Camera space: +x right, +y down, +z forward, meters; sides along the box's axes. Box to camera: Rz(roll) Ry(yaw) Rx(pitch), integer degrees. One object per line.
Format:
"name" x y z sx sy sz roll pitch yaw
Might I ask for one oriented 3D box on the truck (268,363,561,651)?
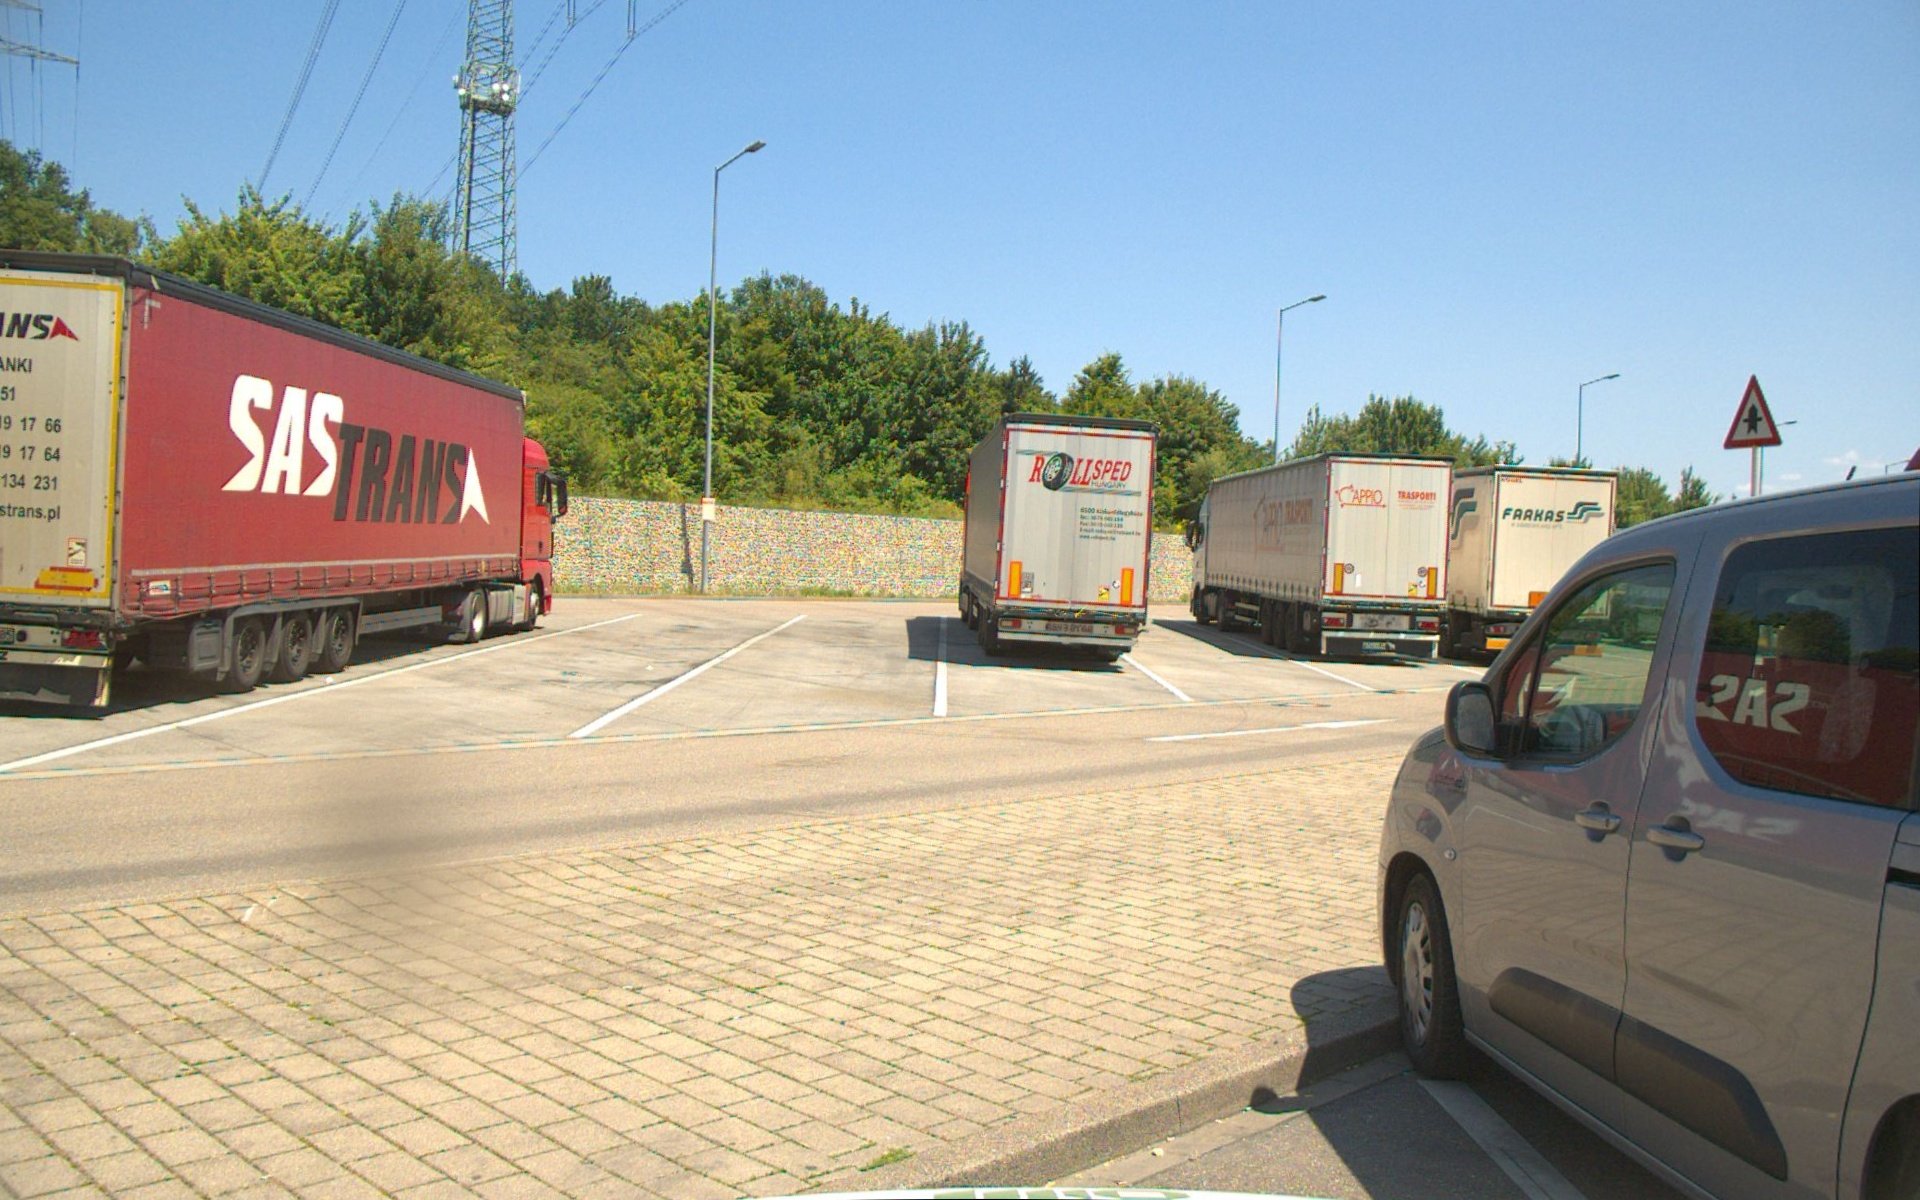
"truck" -8.787 -1.426 27.543 2.687 4.152 6.828 1 1 -1

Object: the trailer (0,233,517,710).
"trailer" -8.691 -1.263 21.021 2.694 4.128 13.285 1 1 -1

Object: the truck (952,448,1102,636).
"truck" 1.453 -1.389 39.450 2.965 3.997 6.845 2 2 -2

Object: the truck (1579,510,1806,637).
"truck" 21.944 -0.825 50.193 2.963 3.497 8.529 1 1 -1

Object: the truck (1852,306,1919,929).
"truck" 4.970 0.125 4.943 1.952 2.669 5.305 1 1 3

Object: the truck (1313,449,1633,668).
"truck" 11.704 -0.969 40.001 2.846 4.195 14.525 3 1 -1

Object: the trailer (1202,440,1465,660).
"trailer" 8.193 -1.098 38.616 2.818 4.196 13.569 1 1 -1

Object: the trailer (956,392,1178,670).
"trailer" 1.687 -1.323 32.684 3.008 4.301 12.805 2 2 -2

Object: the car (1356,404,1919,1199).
"car" 2.424 0.553 3.822 1.790 1.784 3.997 1 1 -4

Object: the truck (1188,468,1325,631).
"truck" 8.058 -1.371 45.616 2.701 4.196 5.283 1 1 -1

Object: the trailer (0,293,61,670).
"trailer" -12.420 -1.312 15.452 2.689 4.337 9.733 1 1 0
